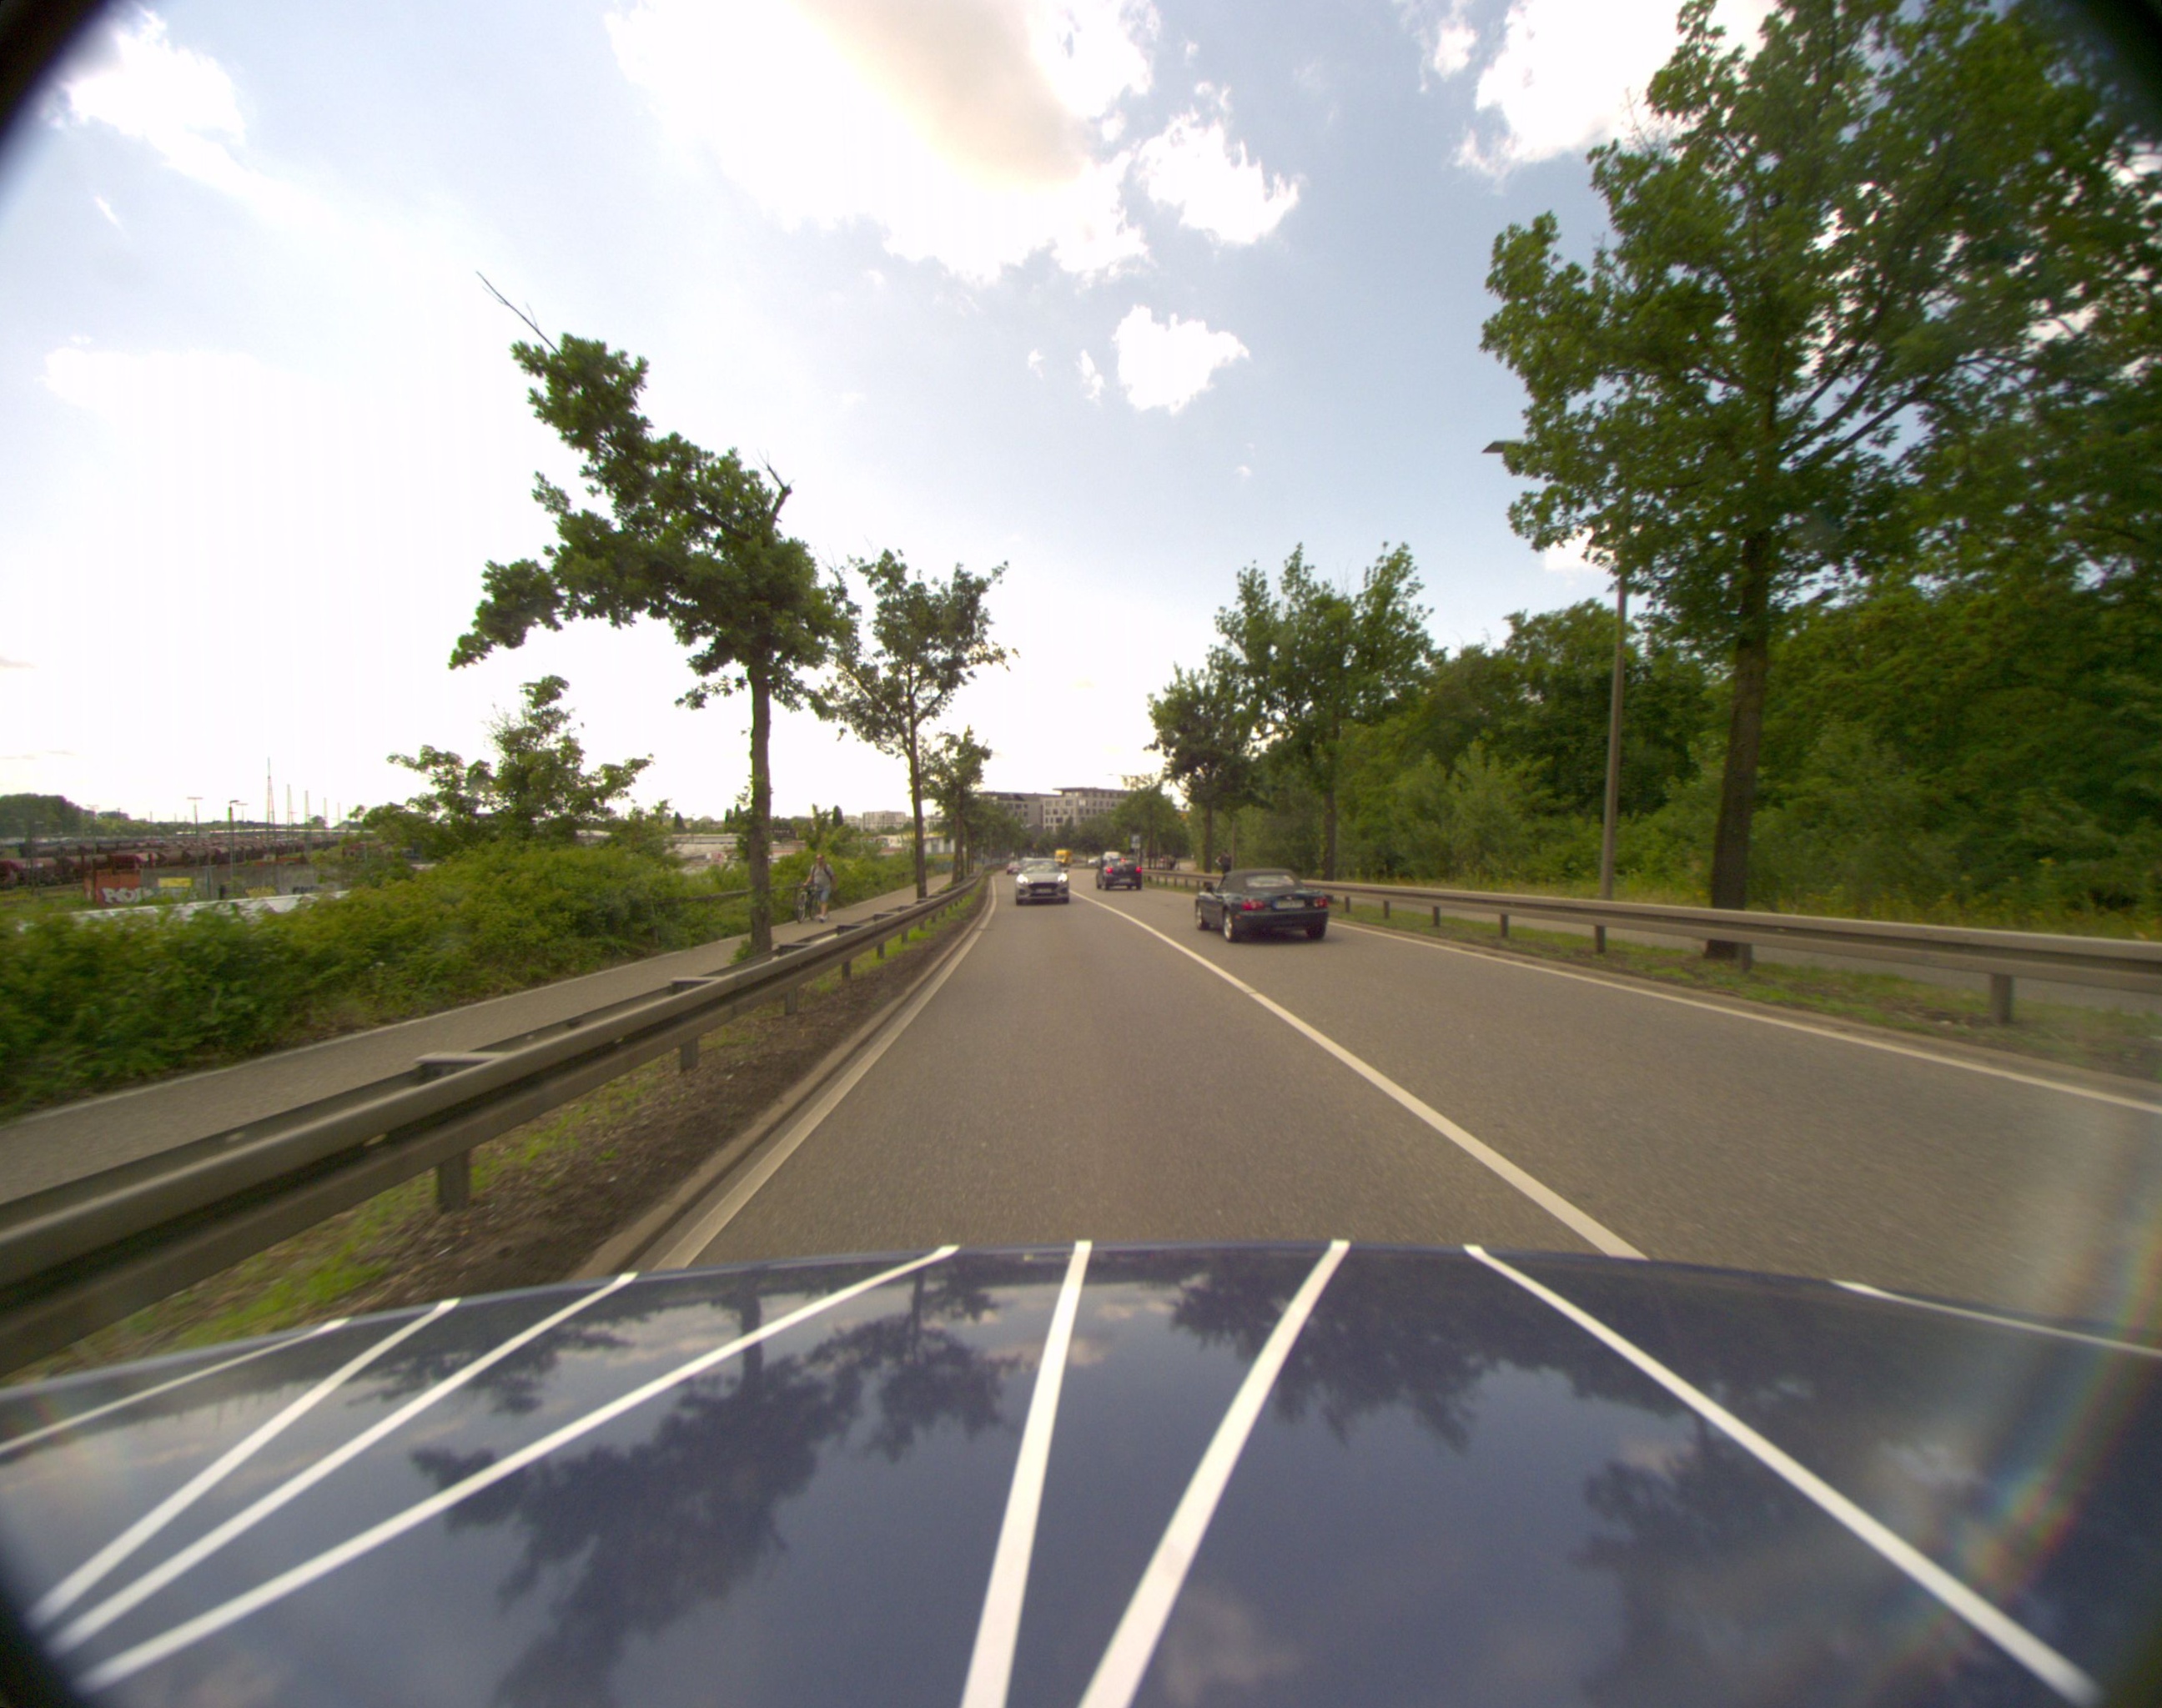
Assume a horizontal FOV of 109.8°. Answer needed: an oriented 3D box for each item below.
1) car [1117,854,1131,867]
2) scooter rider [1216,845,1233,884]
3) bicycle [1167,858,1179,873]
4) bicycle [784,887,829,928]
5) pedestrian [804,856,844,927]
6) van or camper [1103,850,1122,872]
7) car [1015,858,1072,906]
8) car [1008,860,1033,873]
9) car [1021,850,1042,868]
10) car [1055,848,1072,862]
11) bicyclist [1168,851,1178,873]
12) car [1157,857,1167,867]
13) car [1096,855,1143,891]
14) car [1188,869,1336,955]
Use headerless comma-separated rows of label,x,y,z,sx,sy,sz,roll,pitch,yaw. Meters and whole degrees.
car,6.421,0.913,113.514,1.779,1.856,5.269,1,0,7
scooter rider,6.965,0.499,36.920,0.664,1.845,0.619,1,1,-6
bicycle,6.556,0.805,54.229,0.558,1.057,1.753,0,0,-5
bicycle,-6.602,1.277,18.345,0.558,0.864,1.825,1,0,-5
pedestrian,-6.140,0.876,18.215,0.659,1.632,1.054,0,1,-5
van or camper,4.016,0.892,95.300,1.998,2.567,5.983,-2,0,5
car,-1.352,0.928,26.825,1.828,1.516,3.999,-1,0,-4
car,-5.871,1.181,73.311,1.849,1.201,3.996,1,-1,-12
car,-5.891,0.566,90.755,1.998,2.002,4.000,3,1,3
car,-3.003,0.103,131.783,1.997,2.306,4.889,-2,1,8
bicyclist,6.561,0.548,54.204,0.486,1.544,0.880,1,1,-5
car,15.142,1.509,141.574,1.778,1.852,4.127,1,0,7
car,1.798,0.862,36.359,1.785,1.597,4.157,-2,0,-3
car,3.113,0.952,13.828,1.597,1.211,3.789,-2,0,-3
